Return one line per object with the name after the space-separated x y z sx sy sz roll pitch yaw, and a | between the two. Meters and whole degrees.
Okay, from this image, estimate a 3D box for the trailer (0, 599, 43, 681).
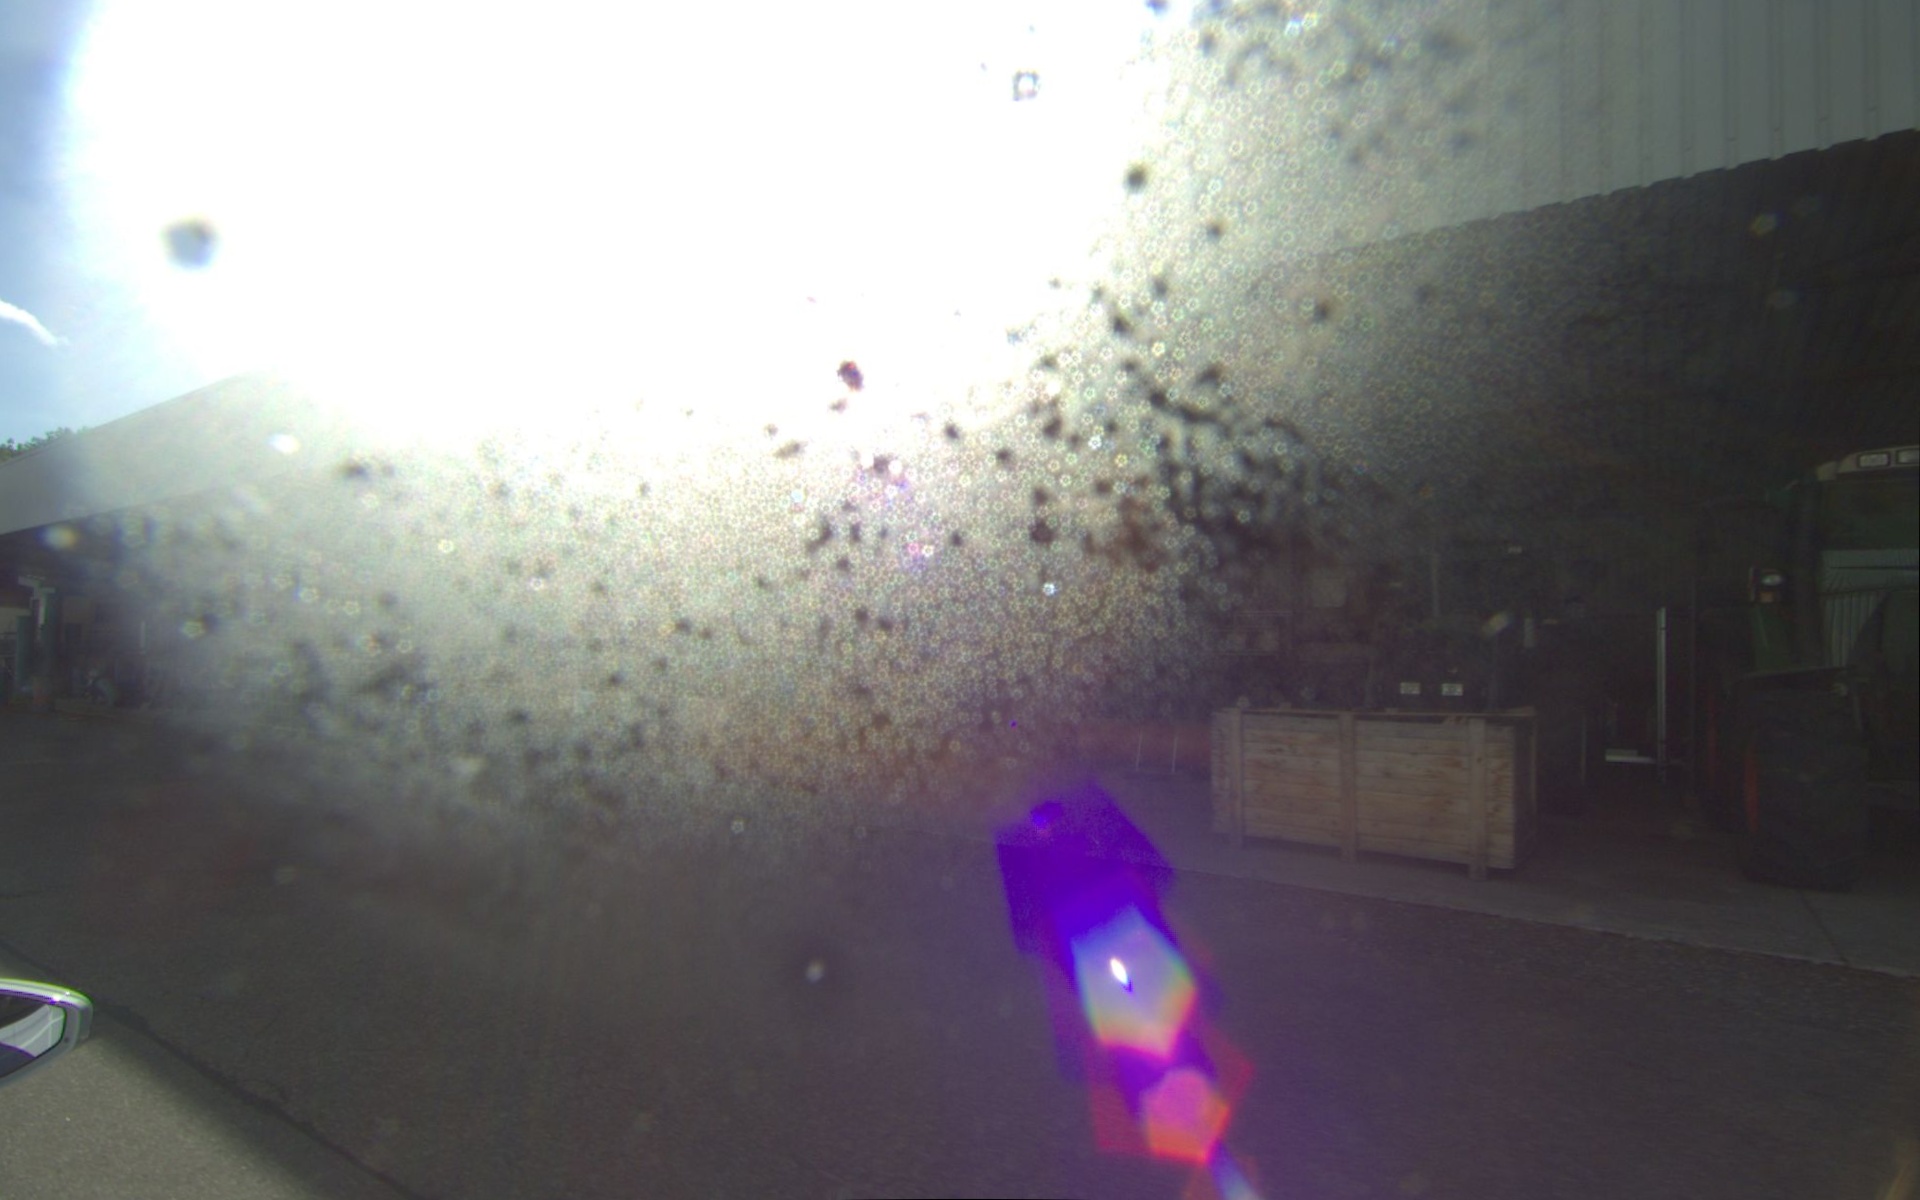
-29.185 1.177 29.708 1.704 2.427 2.518 -2 -4 36 | trailer

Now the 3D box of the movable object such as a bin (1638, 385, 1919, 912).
8.240 0.568 9.181 3.169 2.945 9.174 -1 -4 35 | movable object such as a bin

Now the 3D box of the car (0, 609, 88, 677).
-35.013 1.565 36.510 1.891 2.335 4.425 -3 -7 35 | car

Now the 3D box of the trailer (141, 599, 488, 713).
-13.266 1.191 21.052 2.050 2.057 5.752 0 -4 36 | trailer

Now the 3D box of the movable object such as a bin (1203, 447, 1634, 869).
5.119 0.628 10.391 2.976 2.945 6.173 -1 -4 35 | movable object such as a bin

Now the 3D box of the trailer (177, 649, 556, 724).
-10.872 1.575 18.948 2.111 1.147 5.839 0 -4 33 | trailer
